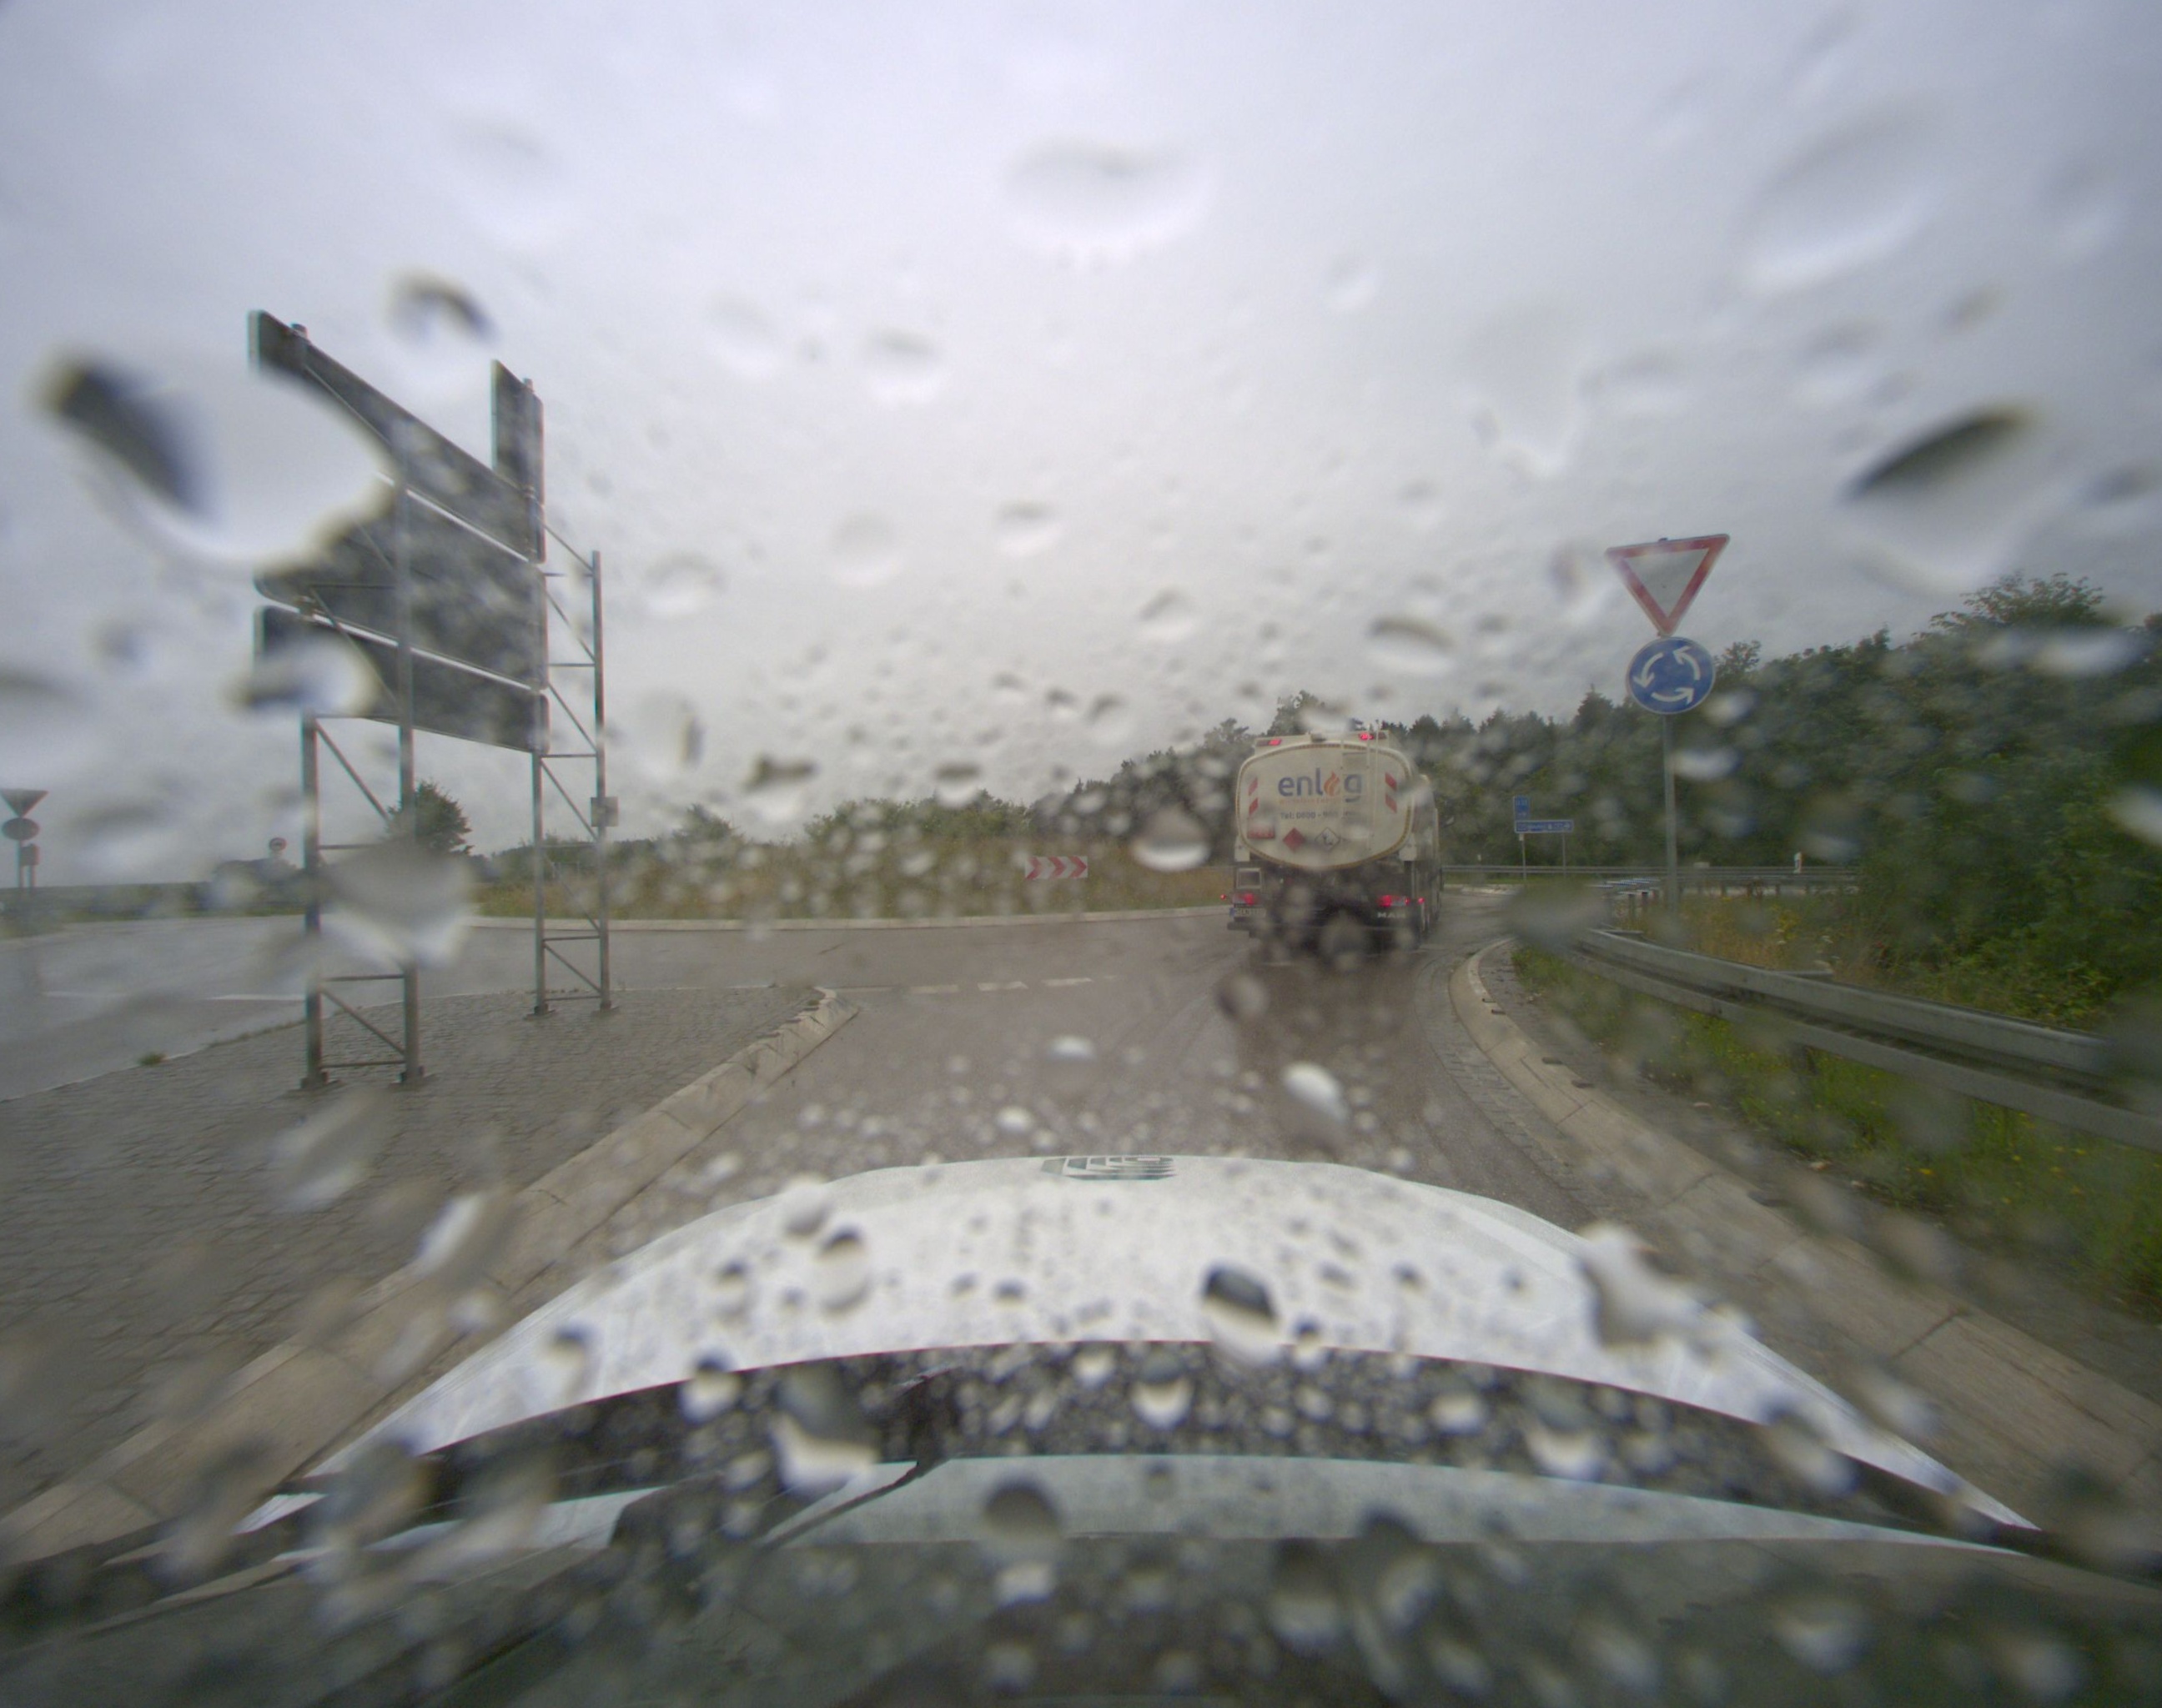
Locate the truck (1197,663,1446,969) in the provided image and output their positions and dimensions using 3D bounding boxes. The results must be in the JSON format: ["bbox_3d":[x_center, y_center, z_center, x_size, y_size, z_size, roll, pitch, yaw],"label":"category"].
[{"bbox_3d":[4.914,-0.452,14.894,3.011,3.852,8.873,-1,-1,25],"label":"truck"}]
